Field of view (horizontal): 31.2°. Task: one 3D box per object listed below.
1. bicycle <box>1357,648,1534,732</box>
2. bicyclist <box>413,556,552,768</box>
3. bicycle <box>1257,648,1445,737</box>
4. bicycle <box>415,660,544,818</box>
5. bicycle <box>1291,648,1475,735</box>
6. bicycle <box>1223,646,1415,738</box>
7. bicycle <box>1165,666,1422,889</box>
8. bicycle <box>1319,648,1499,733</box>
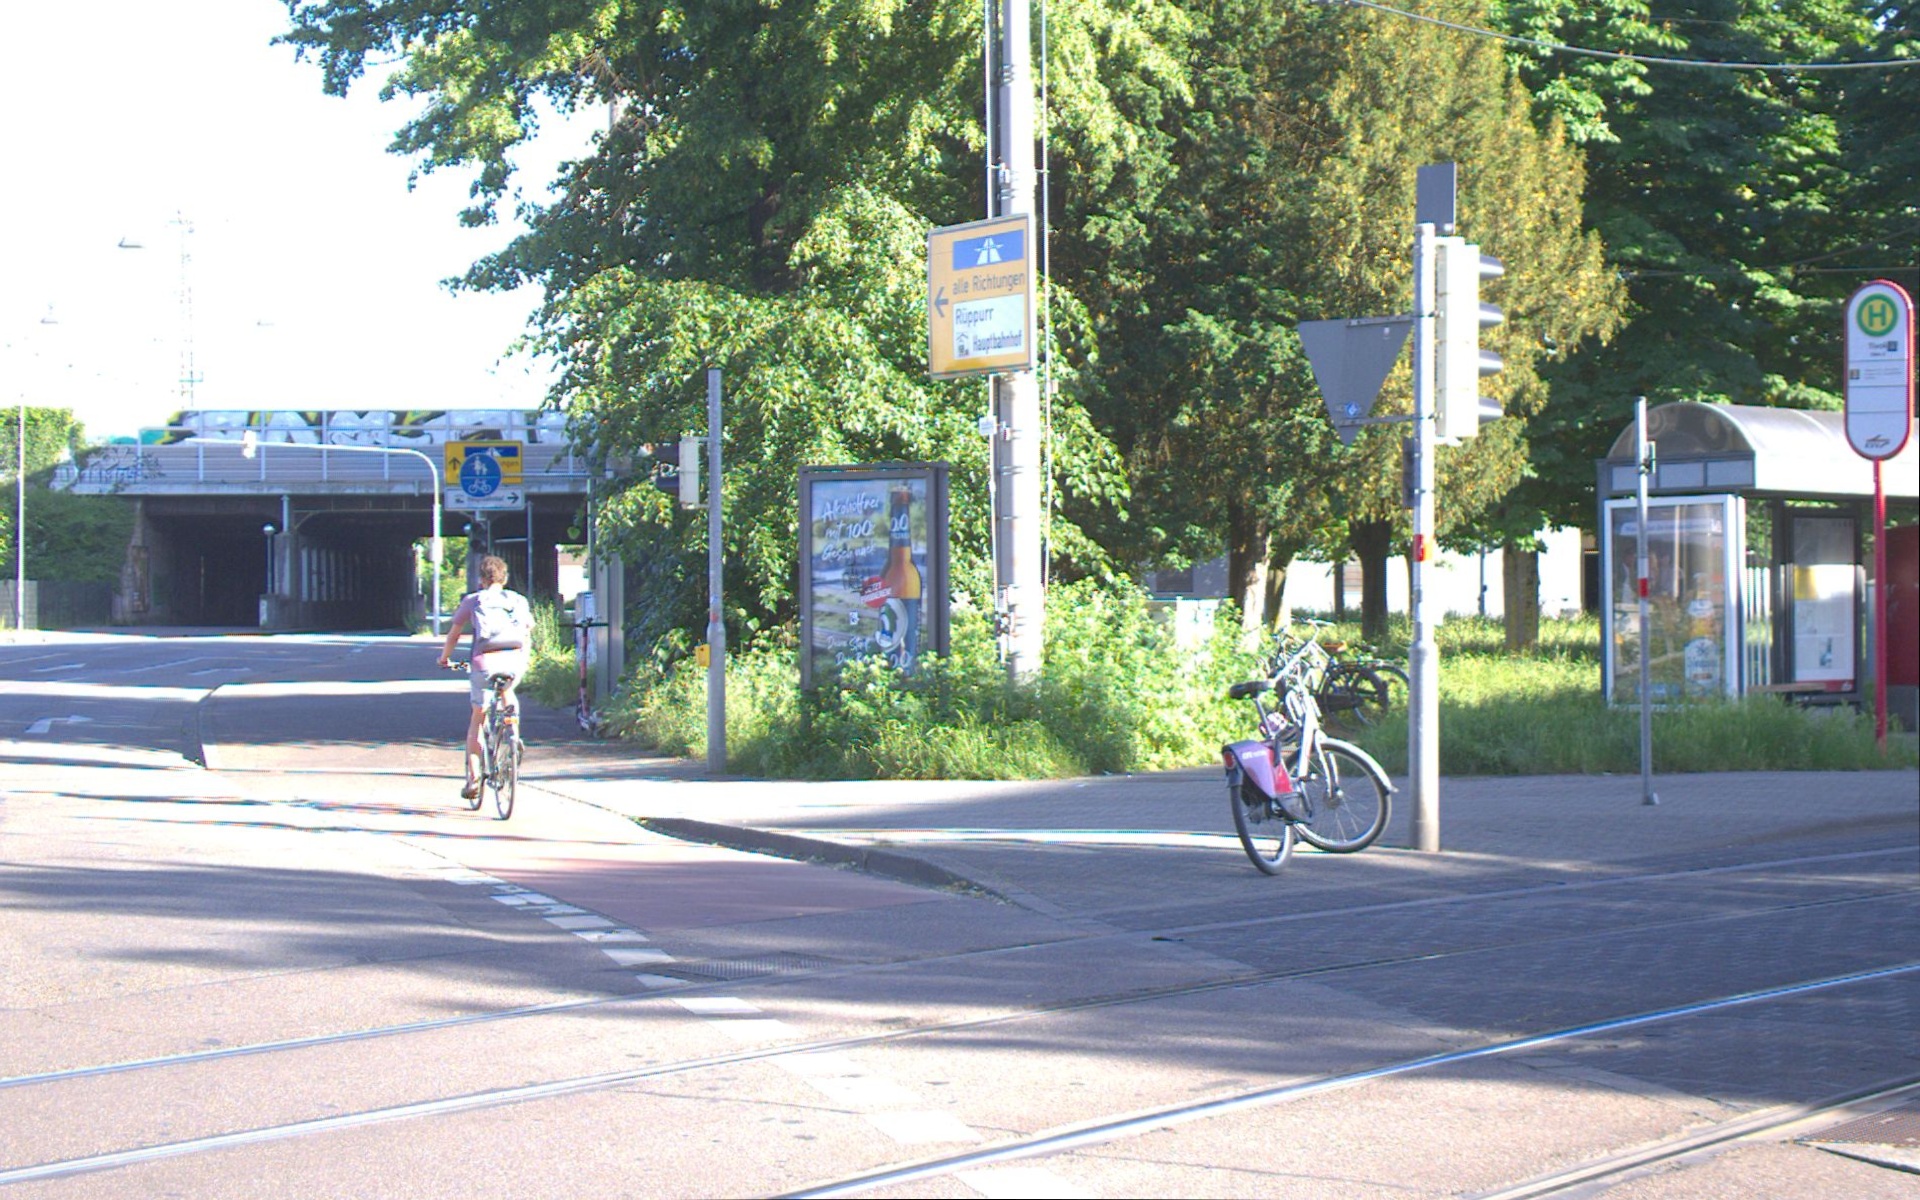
[{"bbox_3d":[5.509,1.010,39.029,1.879,0.903,0.658,0,0,28],"label":"bicycle"},{"bbox_3d":[-3.500,0.436,25.132,0.840,1.505,1.369,0,0,-15],"label":"bicyclist"},{"bbox_3d":[4.158,0.974,36.629,1.879,0.903,0.658,0,0,28],"label":"bicycle"},{"bbox_3d":[-3.538,0.997,25.208,0.667,1.056,2.082,0,0,-16],"label":"bicycle"},{"bbox_3d":[4.598,0.986,37.392,1.879,0.903,0.658,0,0,28],"label":"bicycle"},{"bbox_3d":[3.729,0.948,35.740,1.879,0.903,0.658,0,0,28],"label":"bicycle"},{"bbox_3d":[1.782,0.899,18.081,0.826,1.056,1.880,0,0,23],"label":"bicycle"},{"bbox_3d":[4.999,0.997,38.278,1.879,0.903,0.658,0,0,28],"label":"bicycle"}]
